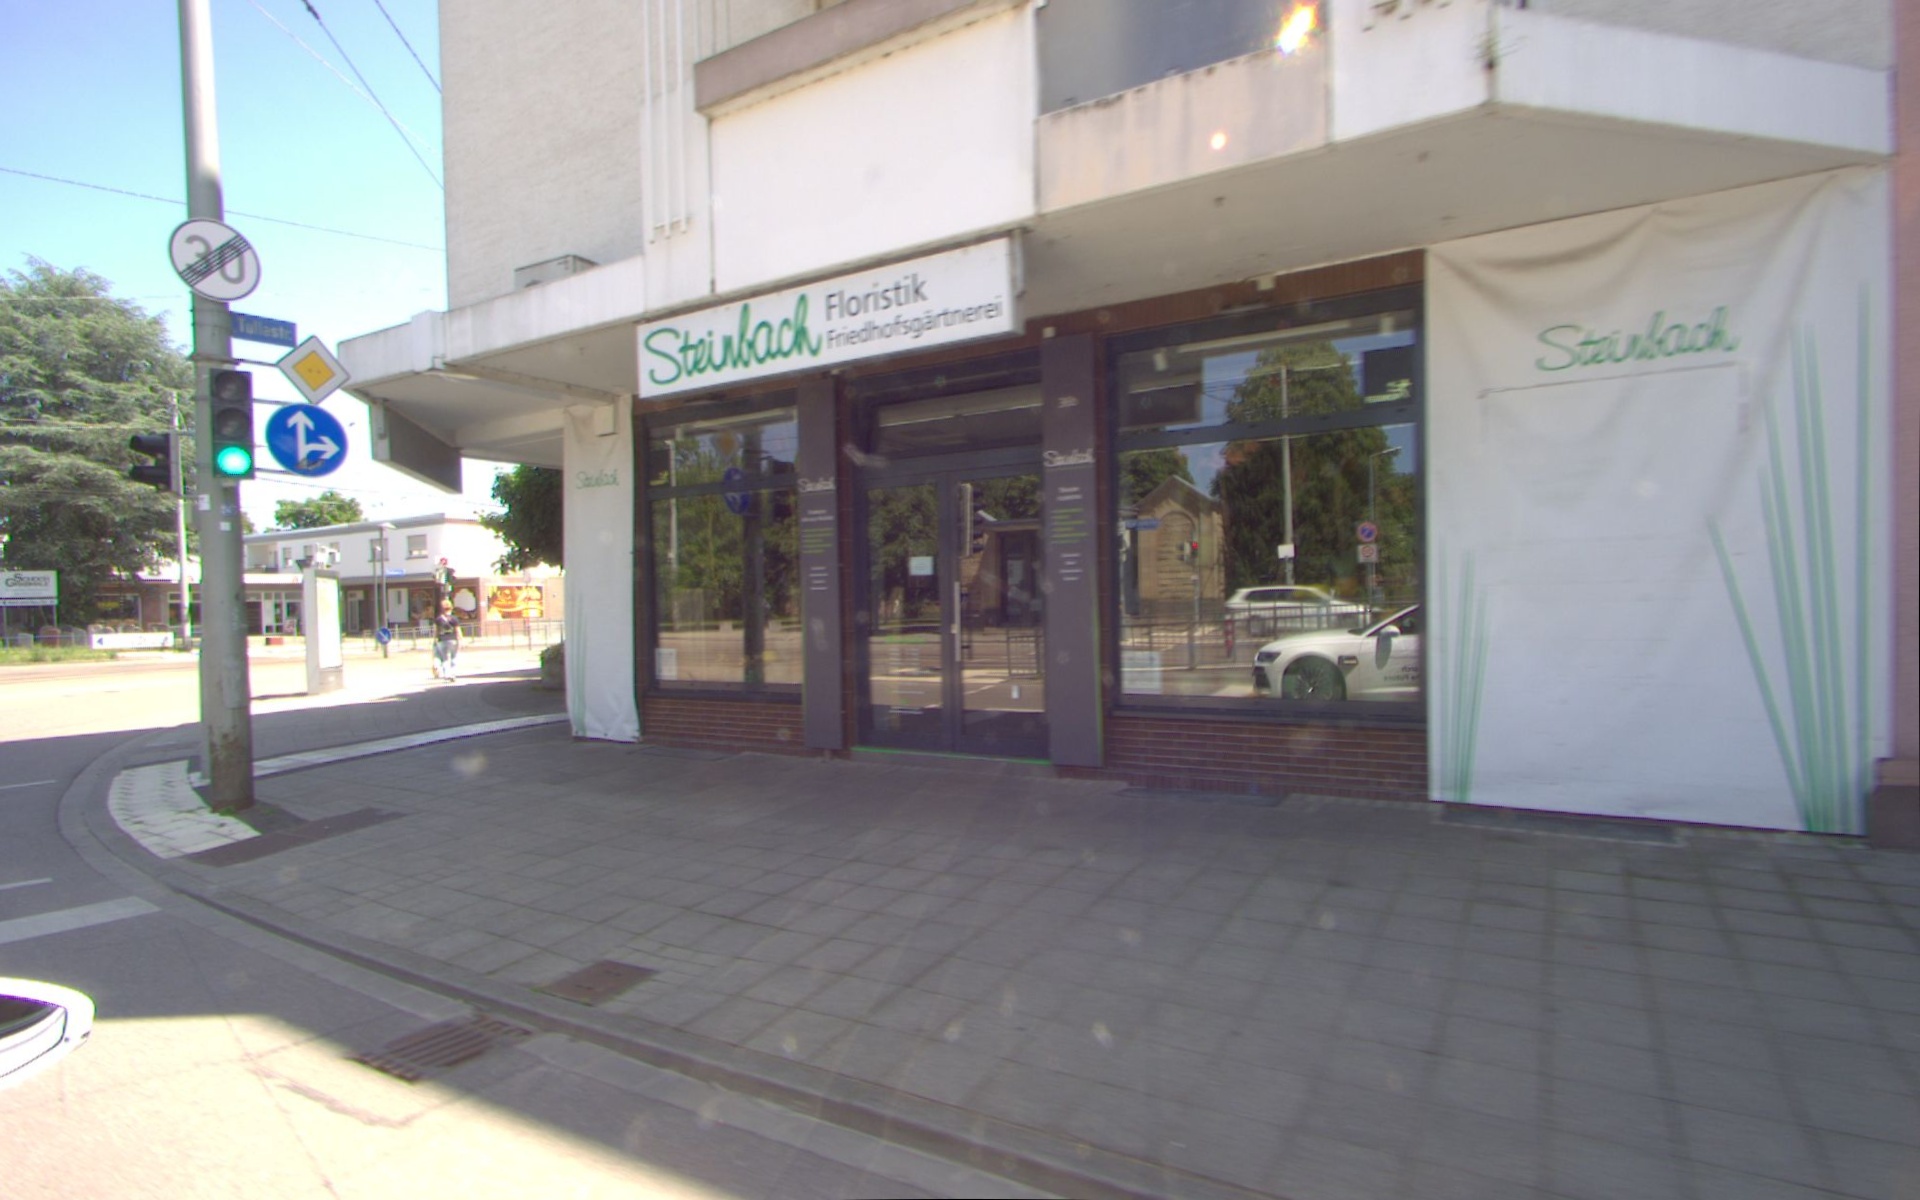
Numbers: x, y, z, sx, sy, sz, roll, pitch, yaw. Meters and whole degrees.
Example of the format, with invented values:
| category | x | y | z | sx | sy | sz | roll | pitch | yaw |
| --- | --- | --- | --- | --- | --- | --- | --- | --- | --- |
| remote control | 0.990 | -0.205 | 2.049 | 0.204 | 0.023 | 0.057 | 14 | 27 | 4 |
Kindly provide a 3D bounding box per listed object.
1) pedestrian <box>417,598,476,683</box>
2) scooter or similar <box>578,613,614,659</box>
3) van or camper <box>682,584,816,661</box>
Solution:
| category | x | y | z | sx | sy | sz | roll | pitch | yaw |
| --- | --- | --- | --- | --- | --- | --- | --- | --- | --- |
| pedestrian | -10.286 | 0.783 | 20.069 | 0.818 | 1.605 | 0.820 | -5 | 4 | -38 |
| scooter or similar | -9.853 | 0.960 | 27.140 | 0.387 | 1.229 | 1.255 | -1 | 0 | 5 |
| van or camper | -8.125 | 0.828 | 39.097 | 2.175 | 2.802 | 5.215 | 0 | 0 | 30 |
